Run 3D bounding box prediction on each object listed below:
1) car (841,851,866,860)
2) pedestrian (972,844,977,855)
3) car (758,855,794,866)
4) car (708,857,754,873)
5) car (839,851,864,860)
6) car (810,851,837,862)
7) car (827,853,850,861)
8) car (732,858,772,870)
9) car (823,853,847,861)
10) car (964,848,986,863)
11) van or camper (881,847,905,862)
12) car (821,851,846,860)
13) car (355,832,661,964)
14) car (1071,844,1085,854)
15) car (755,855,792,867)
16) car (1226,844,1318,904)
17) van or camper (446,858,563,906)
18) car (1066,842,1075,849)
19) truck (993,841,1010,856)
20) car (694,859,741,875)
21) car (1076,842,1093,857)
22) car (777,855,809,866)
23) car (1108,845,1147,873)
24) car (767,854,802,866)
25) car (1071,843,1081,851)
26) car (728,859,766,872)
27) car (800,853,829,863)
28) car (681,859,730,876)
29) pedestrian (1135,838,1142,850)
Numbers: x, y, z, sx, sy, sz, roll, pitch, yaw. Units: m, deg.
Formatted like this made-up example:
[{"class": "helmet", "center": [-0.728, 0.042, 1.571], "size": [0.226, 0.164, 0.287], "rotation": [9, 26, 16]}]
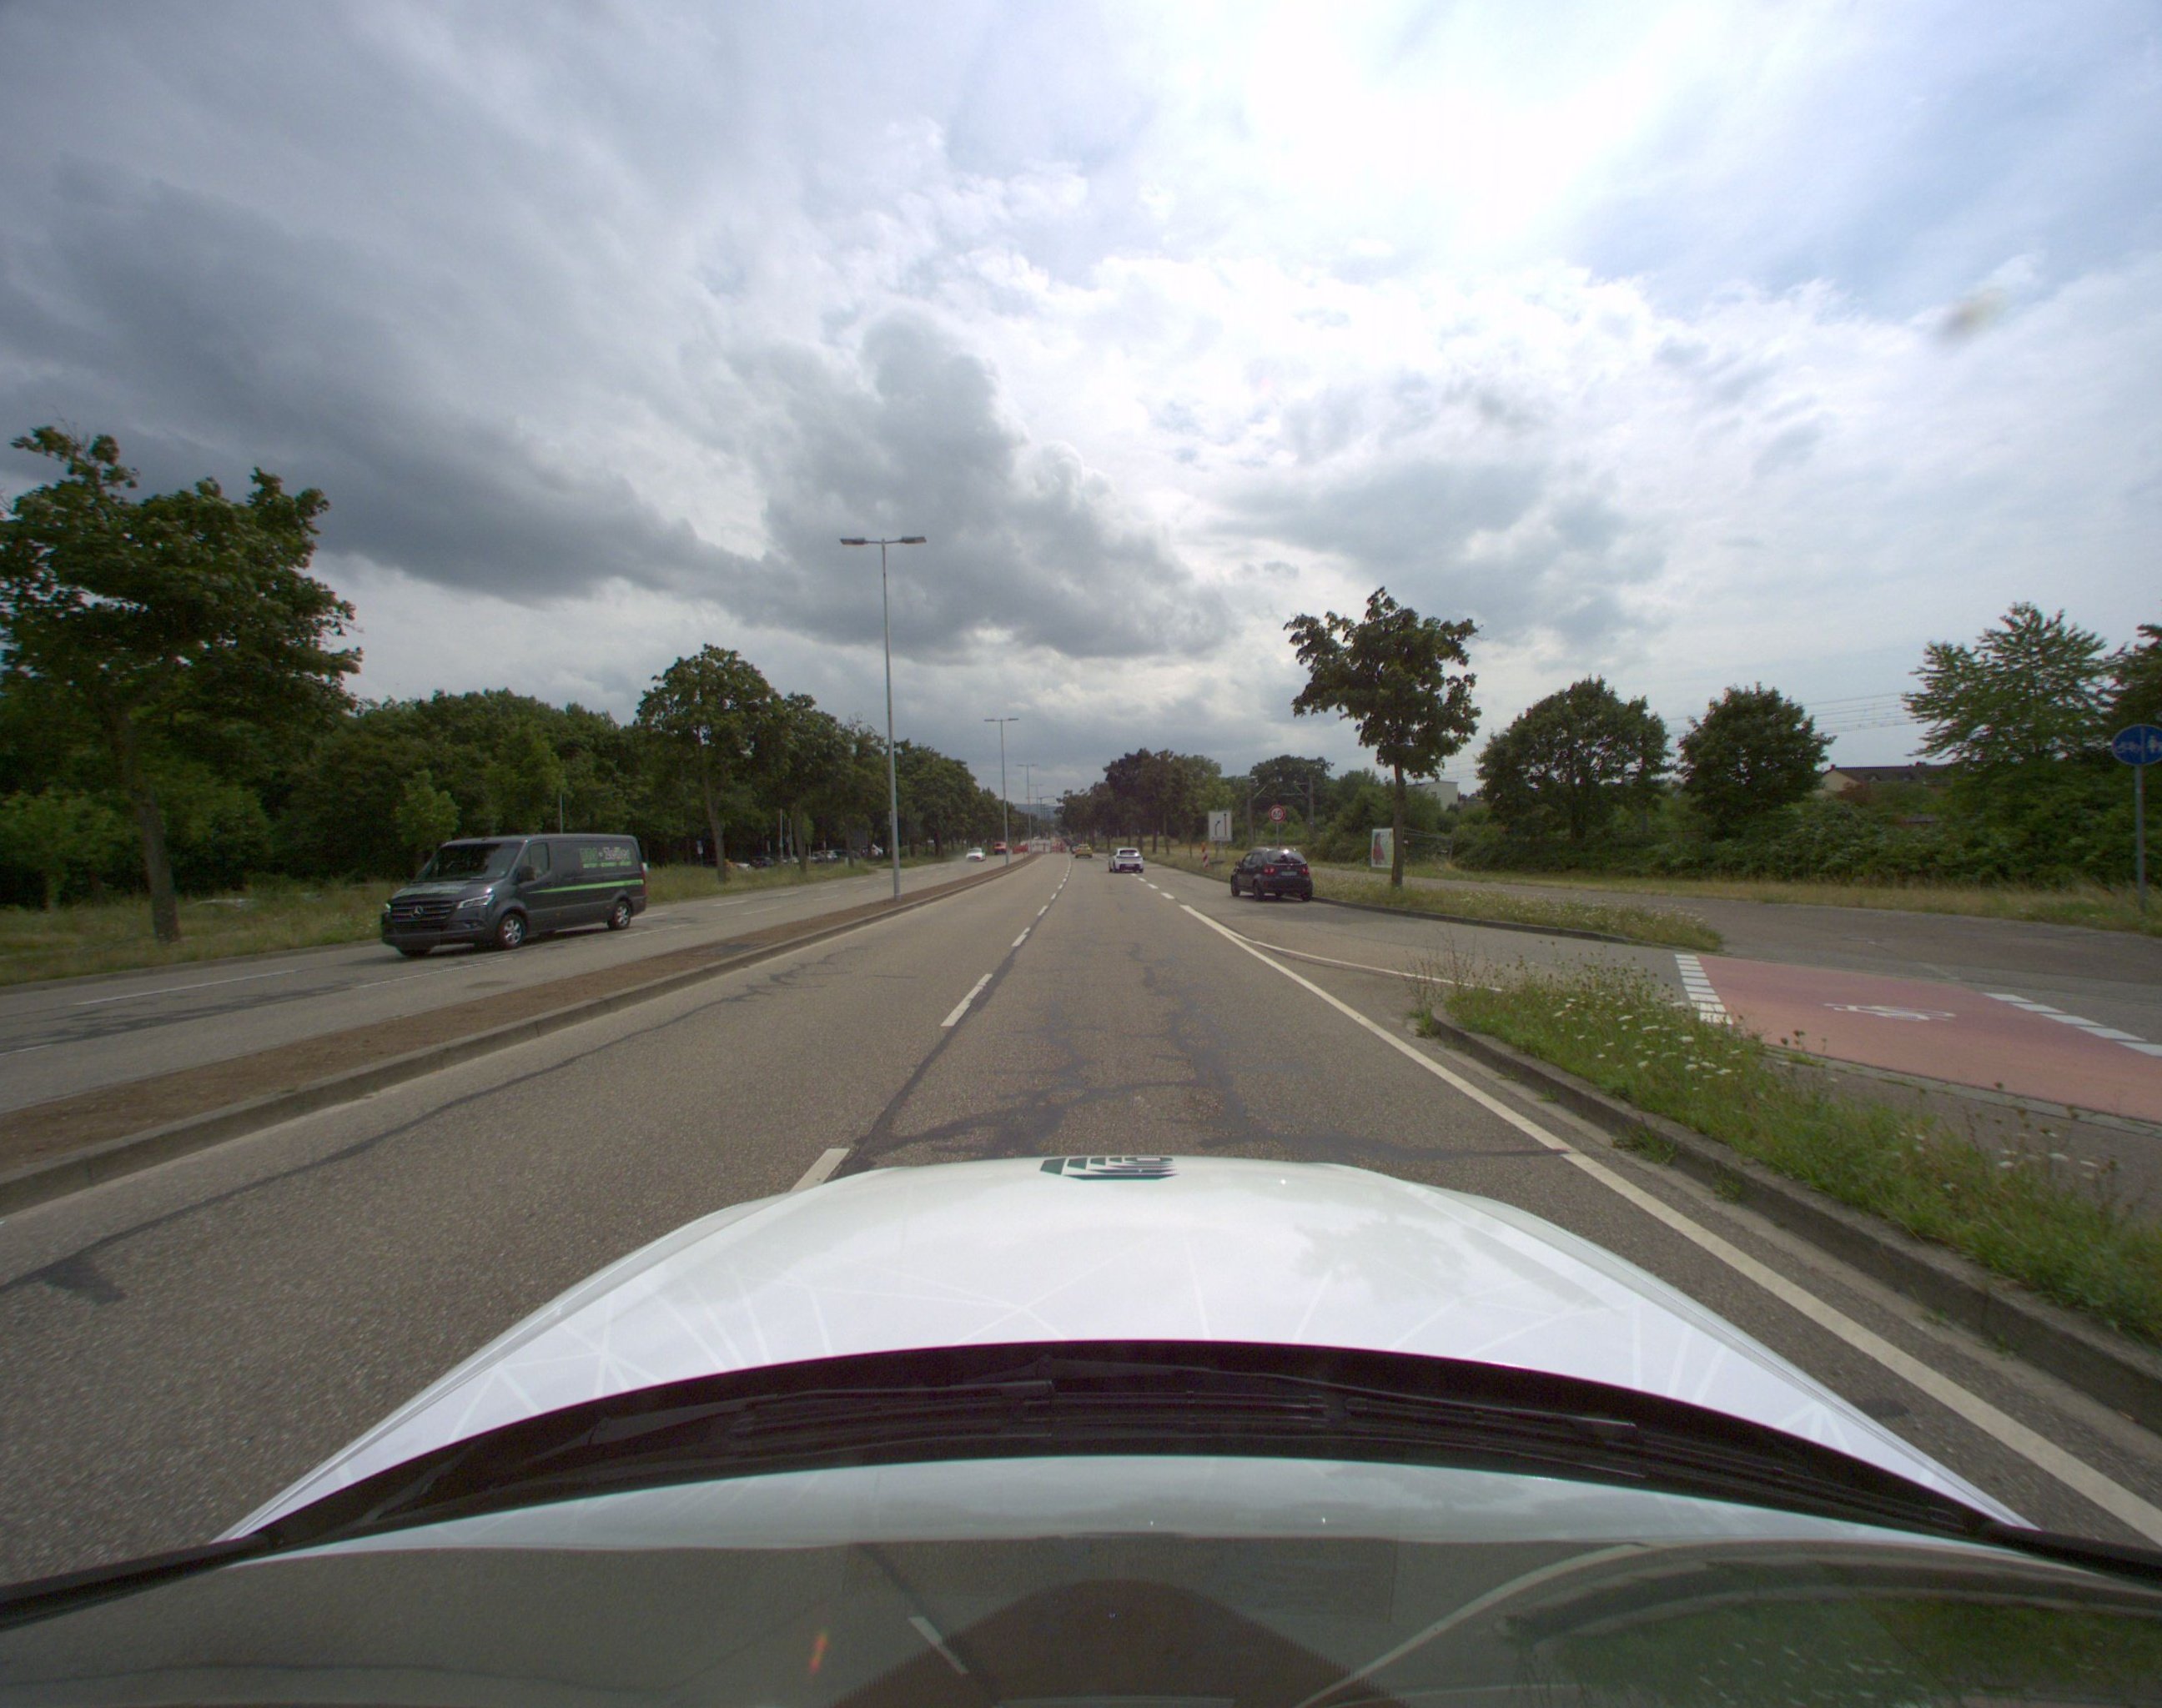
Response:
[{"class": "car", "center": [-39.029, 0.307, 139.811], "size": [3.719, 1.409, 2.000], "rotation": [-2, 1, -1]}, {"class": "pedestrian", "center": [-19.263, -0.799, 146.998], "size": [0.693, 1.838, 0.646], "rotation": [-2, 1, -23]}, {"class": "car", "center": [-39.999, 0.864, 106.921], "size": [3.973, 1.360, 1.823], "rotation": [-2, 1, 1]}, {"class": "car", "center": [-37.967, 1.155, 88.424], "size": [4.166, 1.498, 1.886], "rotation": [-2, 1, 0]}, {"class": "car", "center": [-40.081, 0.278, 142.131], "size": [3.759, 1.425, 1.967], "rotation": [-2, 1, 1]}, {"class": "car", "center": [-39.872, 0.365, 126.132], "size": [3.636, 1.519, 1.883], "rotation": [-2, 1, 1]}, {"class": "car", "center": [-39.538, 0.461, 132.930], "size": [3.355, 1.093, 1.441], "rotation": [-2, 1, 0]}, {"class": "car", "center": [-39.091, 1.157, 96.775], "size": [3.975, 1.259, 1.563], "rotation": [-2, 1, -1]}, {"class": "car", "center": [-39.182, 0.537, 129.776], "size": [3.355, 1.128, 1.441], "rotation": [-2, 1, 0]}, {"class": "car", "center": [-11.435, 0.176, 87.944], "size": [1.711, 1.420, 4.160], "rotation": [-3, 1, 0]}, {"class": "van or camper", "center": [-36.602, 0.168, 158.592], "size": [3.976, 2.756, 1.926], "rotation": [-2, 1, -2]}, {"class": "car", "center": [-39.730, 0.262, 130.871], "size": [3.537, 1.411, 1.322], "rotation": [-2, 1, 1]}, {"class": "car", "center": [-11.572, 0.732, 17.253], "size": [2.088, 2.200, 6.003], "rotation": [-3, 1, 0]}, {"class": "car", "center": [-0.389, -0.695, 108.434], "size": [1.661, 1.269, 4.001], "rotation": [-2, 1, 0]}, {"class": "car", "center": [-39.469, 0.940, 104.496], "size": [3.973, 1.360, 1.668], "rotation": [-2, 1, 1]}, {"class": "car", "center": [5.848, 0.538, 25.413], "size": [1.700, 1.668, 3.994], "rotation": [-1, 1, -4]}, {"class": "van or camper", "center": [-36.018, 1.657, 51.244], "size": [2.464, 2.540, 6.721], "rotation": [-2, 1, 0]}, {"class": "car", "center": [-2.811, -2.275, 213.773], "size": [2.198, 1.683, 4.002], "rotation": [-2, 1, 1]}, {"class": "truck", "center": [-12.424, -0.892, 127.675], "size": [2.082, 1.994, 6.039], "rotation": [-3, 1, 0]}, {"class": "car", "center": [-38.215, 1.317, 85.661], "size": [3.973, 1.498, 1.785], "rotation": [-2, 1, 0]}, {"class": "car", "center": [0.399, -0.517, 88.571], "size": [1.787, 1.561, 4.001], "rotation": [-2, 1, 0]}, {"class": "car", "center": [-39.336, 0.899, 111.383], "size": [3.632, 1.360, 1.709], "rotation": [-2, 1, 1]}, {"class": "car", "center": [2.727, 0.264, 48.473], "size": [1.763, 1.464, 3.995], "rotation": [-2, 1, -4]}, {"class": "car", "center": [-39.777, 0.840, 109.338], "size": [3.969, 1.410, 2.002], "rotation": [-2, 1, 3]}, {"class": "car", "center": [-0.810, -1.221, 139.220], "size": [1.661, 1.269, 4.001], "rotation": [-2, 1, 0]}, {"class": "car", "center": [-38.098, 1.304, 93.015], "size": [3.636, 1.411, 1.518], "rotation": [-2, 1, 1]}, {"class": "car", "center": [-39.638, 0.578, 121.160], "size": [3.636, 1.411, 1.518], "rotation": [-2, 1, 1]}, {"class": "car", "center": [-38.200, 1.374, 82.981], "size": [3.972, 1.448, 2.001], "rotation": [-2, 1, 1]}, {"class": "pedestrian", "center": [8.287, -1.391, 117.415], "size": [0.689, 1.695, 0.932], "rotation": [-2, 1, -6]}]
